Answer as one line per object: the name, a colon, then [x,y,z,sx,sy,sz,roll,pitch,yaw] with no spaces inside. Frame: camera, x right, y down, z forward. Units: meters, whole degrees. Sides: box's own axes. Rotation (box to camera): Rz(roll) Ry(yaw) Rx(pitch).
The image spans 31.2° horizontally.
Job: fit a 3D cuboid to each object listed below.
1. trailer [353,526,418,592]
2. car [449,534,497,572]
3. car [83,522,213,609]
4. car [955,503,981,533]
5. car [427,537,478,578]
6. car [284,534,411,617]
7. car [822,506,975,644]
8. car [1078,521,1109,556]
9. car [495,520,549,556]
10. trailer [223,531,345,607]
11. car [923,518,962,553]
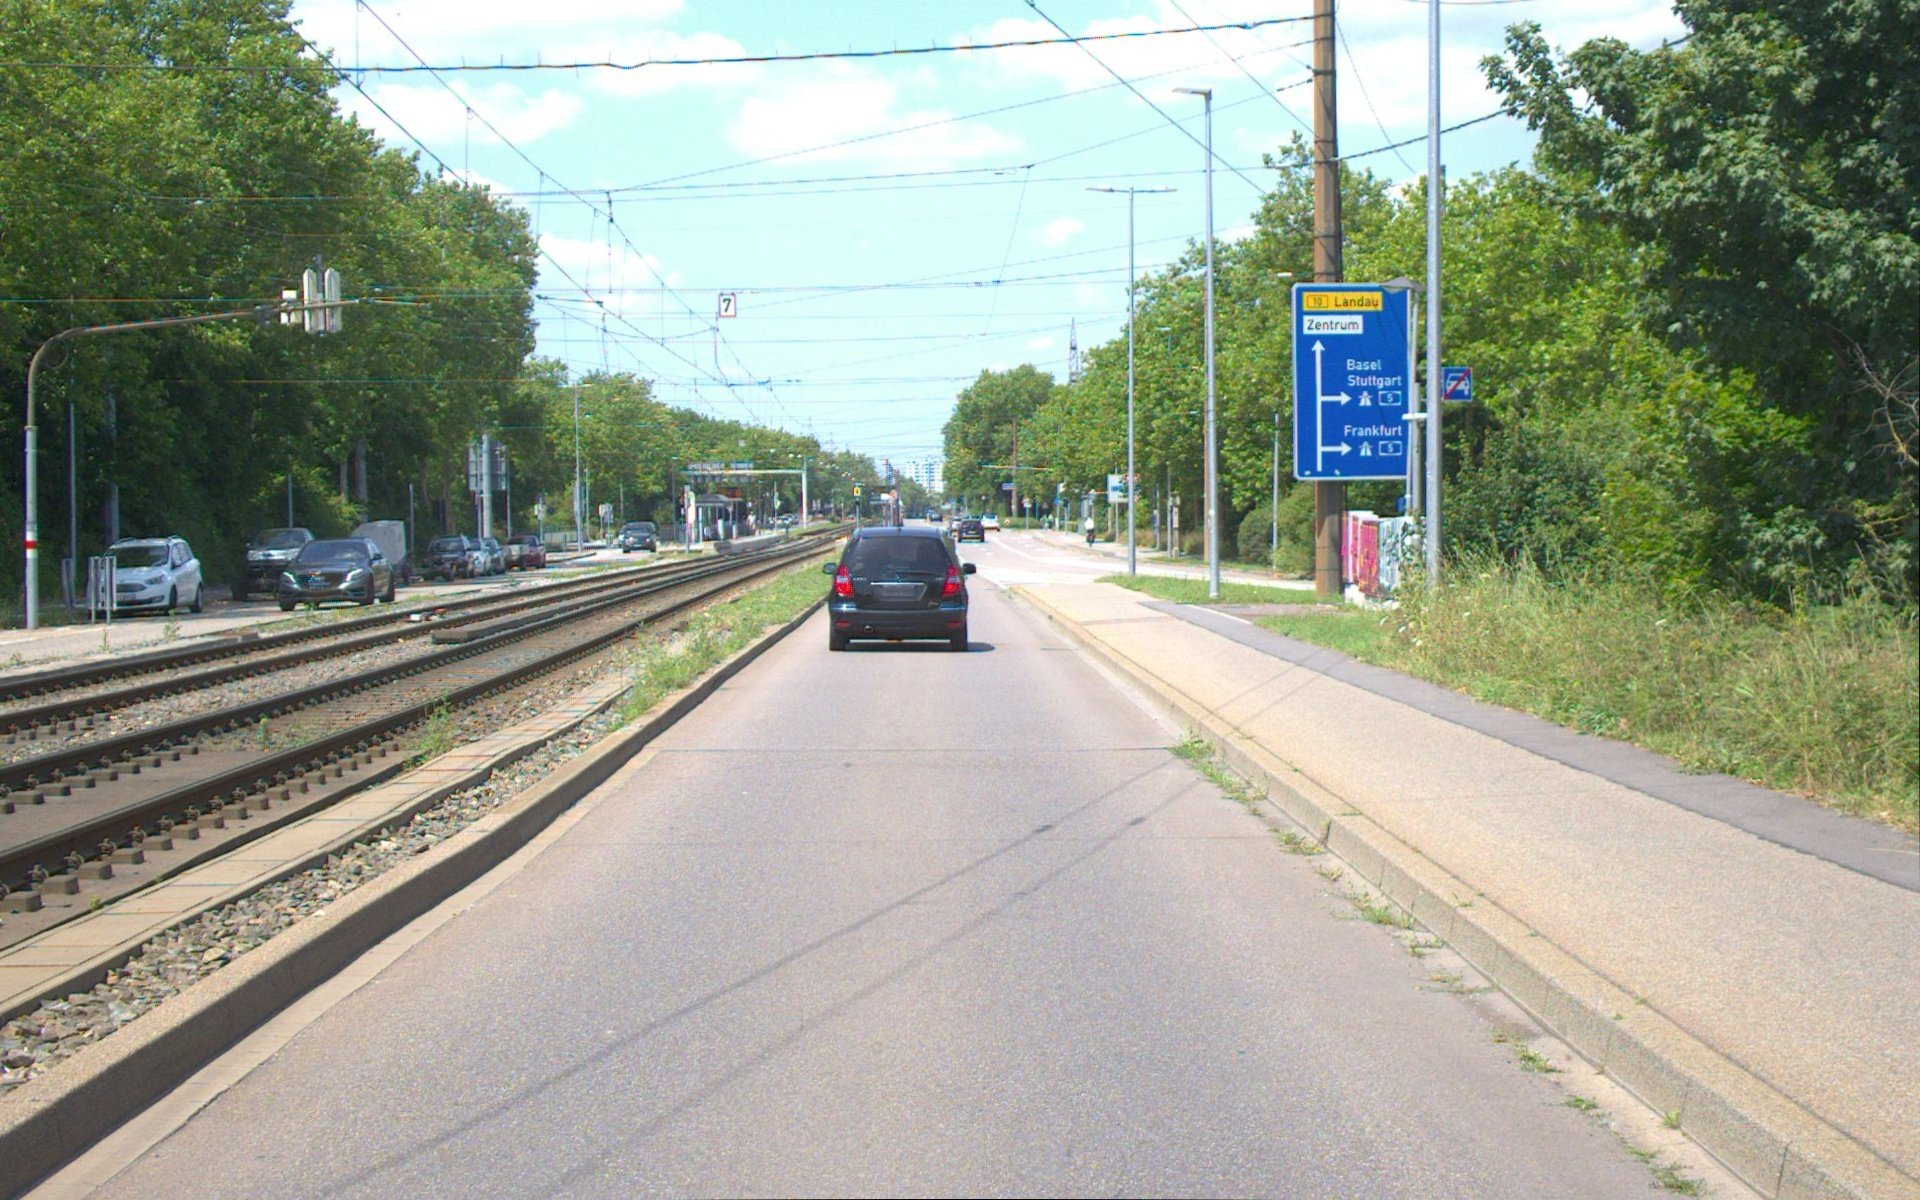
trailer: [-18.298,-1.322,109.638,1.609,2.007,3.917,1,1,-3]
car: [-18.560,-1.798,131.177,1.433,1.446,3.741,0,1,-2]
car: [-17.321,-0.770,73.504,1.720,1.625,4.617,-3,3,-2]
car: [0.558,-5.742,241.523,1.786,2.006,4.001,1,2,0]
car: [-18.426,-1.541,124.850,1.433,1.446,3.922,0,1,-2]
car: [-13.108,-0.556,73.903,1.875,1.714,5.331,0,1,-1]
car: [-0.751,-0.365,44.532,1.853,1.564,4.389,1,3,0]
car: [7.896,-3.643,203.215,1.612,2.006,3.440,1,2,-1]
car: [-19.705,-2.801,154.802,1.993,1.568,4.000,0,1,-1]
trailer: [-17.488,-0.829,89.196,2.461,1.882,5.963,0,1,-5]
car: [-0.892,-3.362,178.274,1.885,1.634,4.000,3,2,0]
